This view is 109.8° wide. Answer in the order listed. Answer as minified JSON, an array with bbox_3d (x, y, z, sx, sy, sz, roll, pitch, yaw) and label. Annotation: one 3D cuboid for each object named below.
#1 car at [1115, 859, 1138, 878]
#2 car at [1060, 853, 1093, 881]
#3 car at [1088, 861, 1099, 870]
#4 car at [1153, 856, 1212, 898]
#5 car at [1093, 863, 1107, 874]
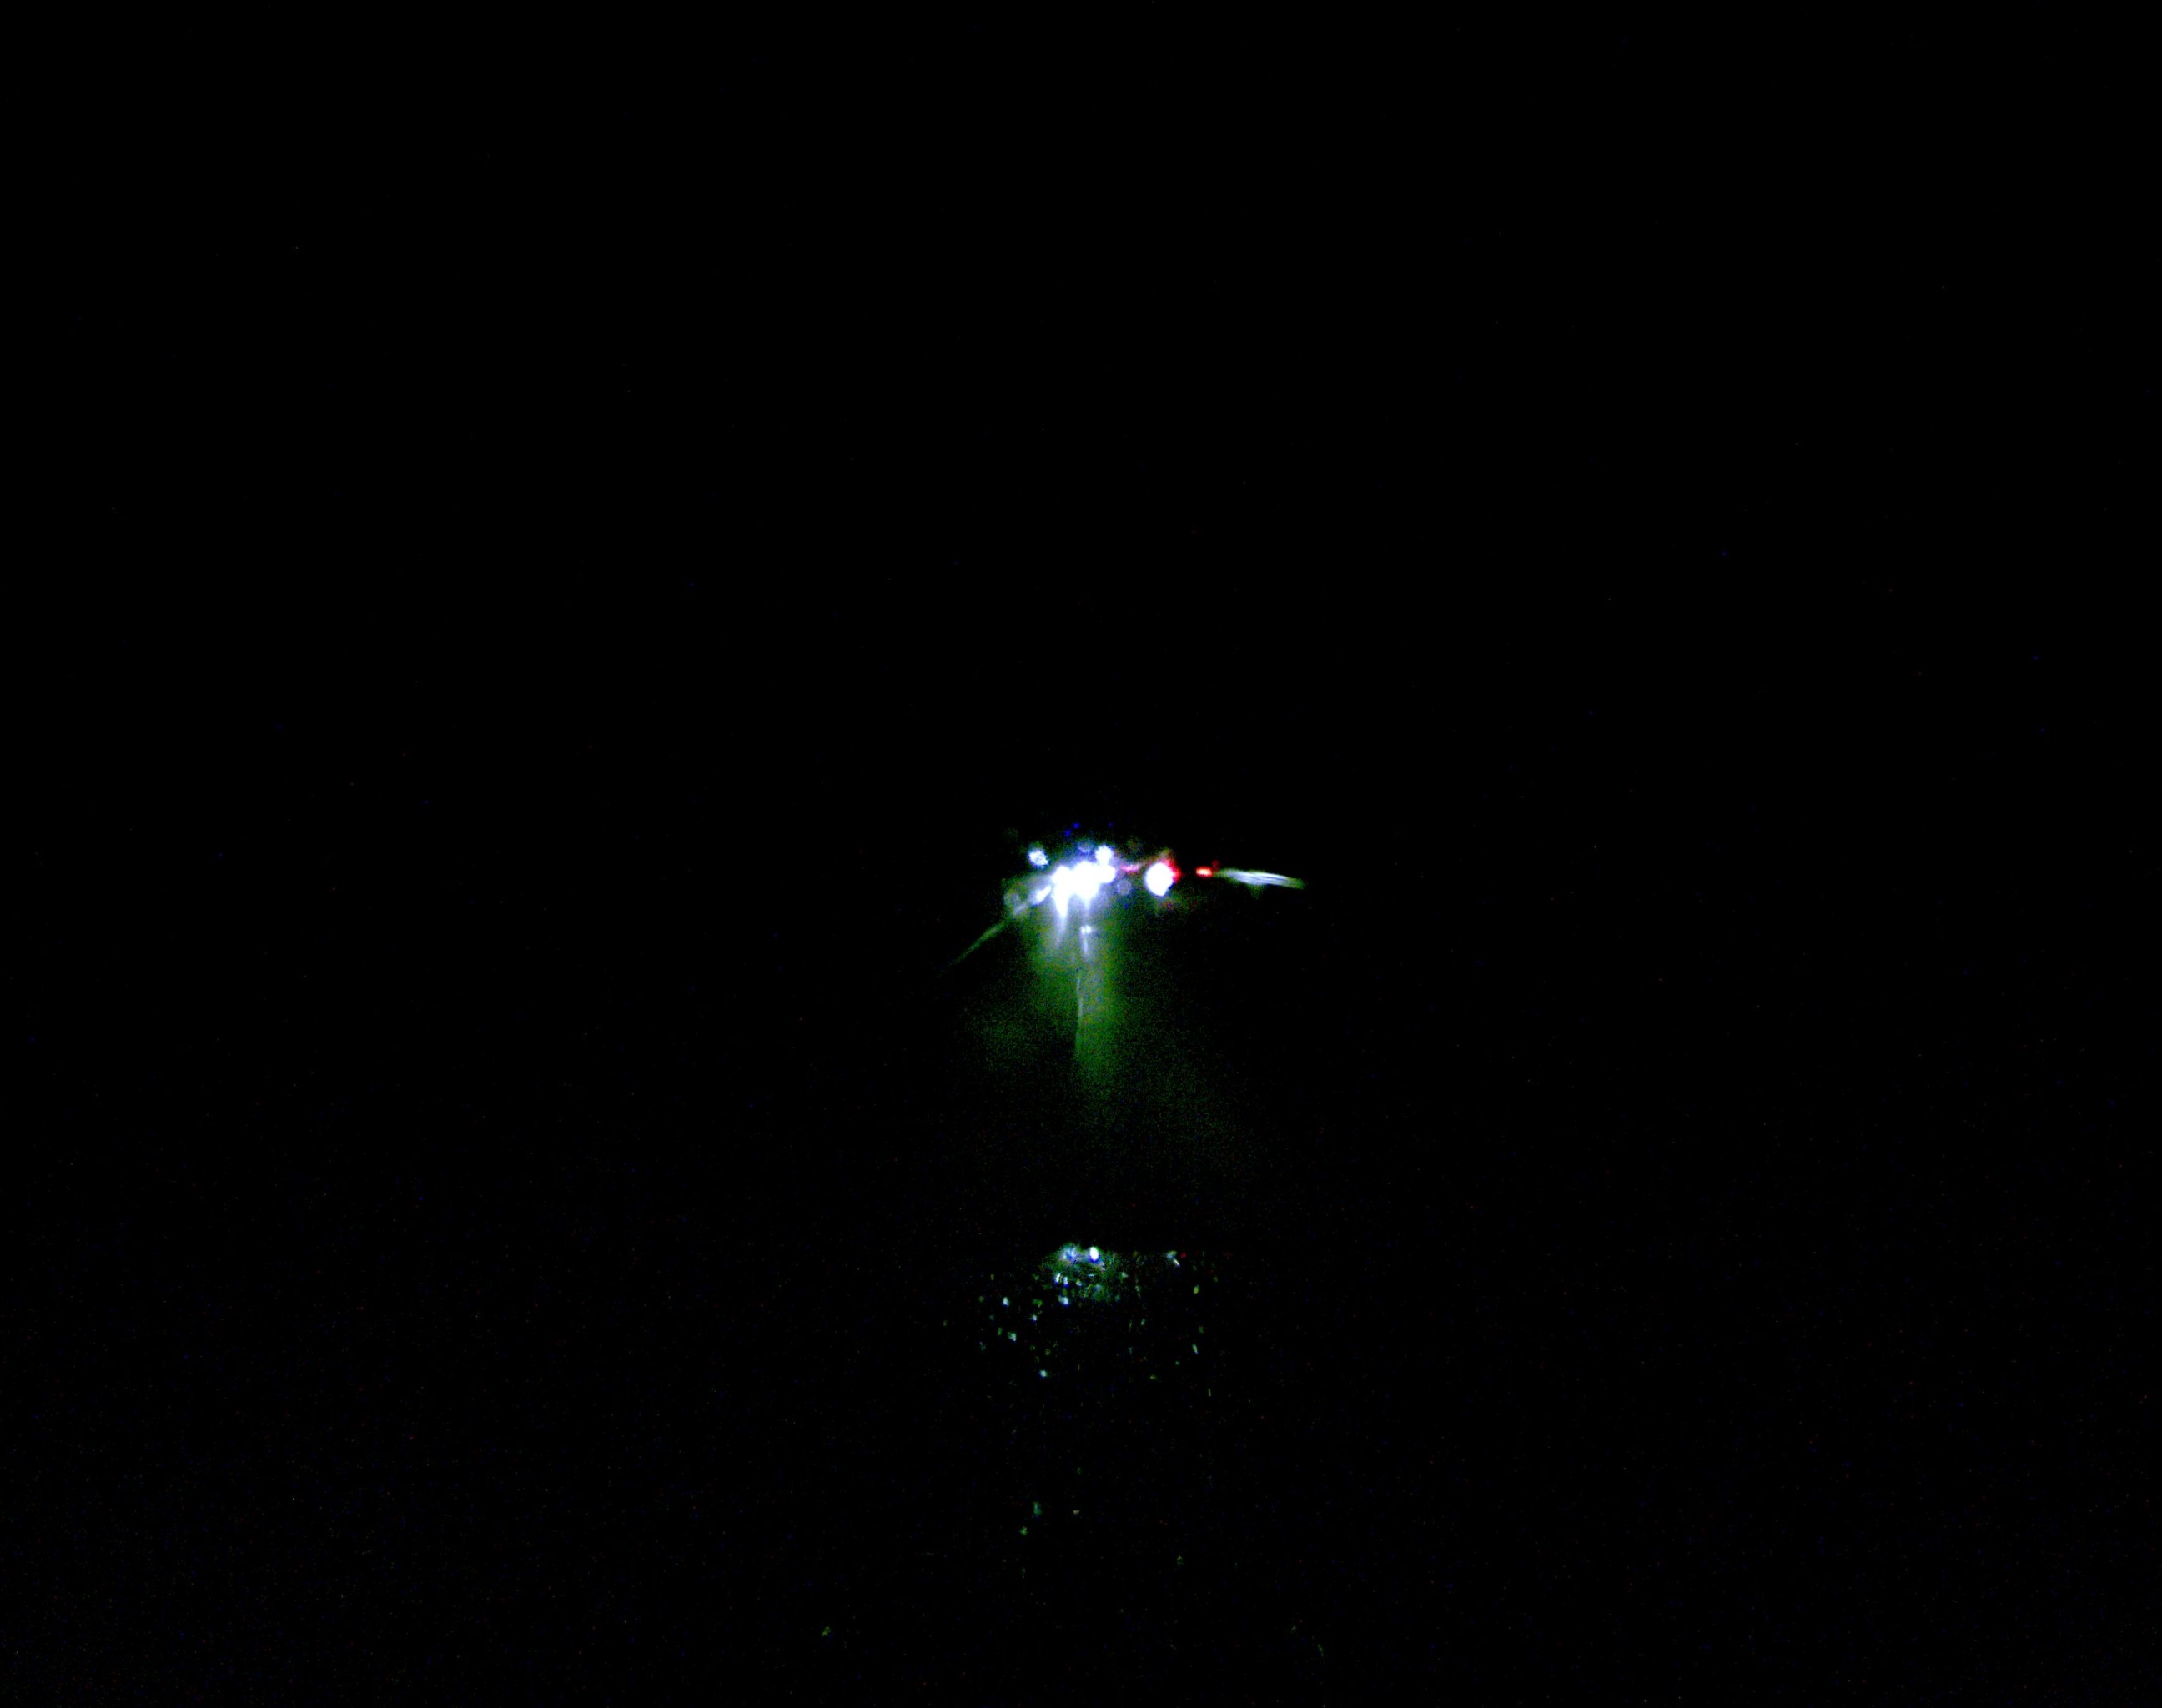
[{"bbox_3d":[3.943,1.252,66.645,1.720,1.508,3.878,-3,-1,0],"label":"car"},{"bbox_3d":[-0.270,0.896,53.496,1.998,1.804,4.001,-2,0,3],"label":"car"},{"bbox_3d":[1.998,1.819,121.503,1.649,1.416,3.659,-2,-1,-2],"label":"car"},{"bbox_3d":[3.734,0.847,28.404,1.720,1.462,3.708,0,-1,0],"label":"car"},{"bbox_3d":[2.667,2.047,107.276,1.649,1.417,4.123,-2,-1,-3],"label":"car"}]
